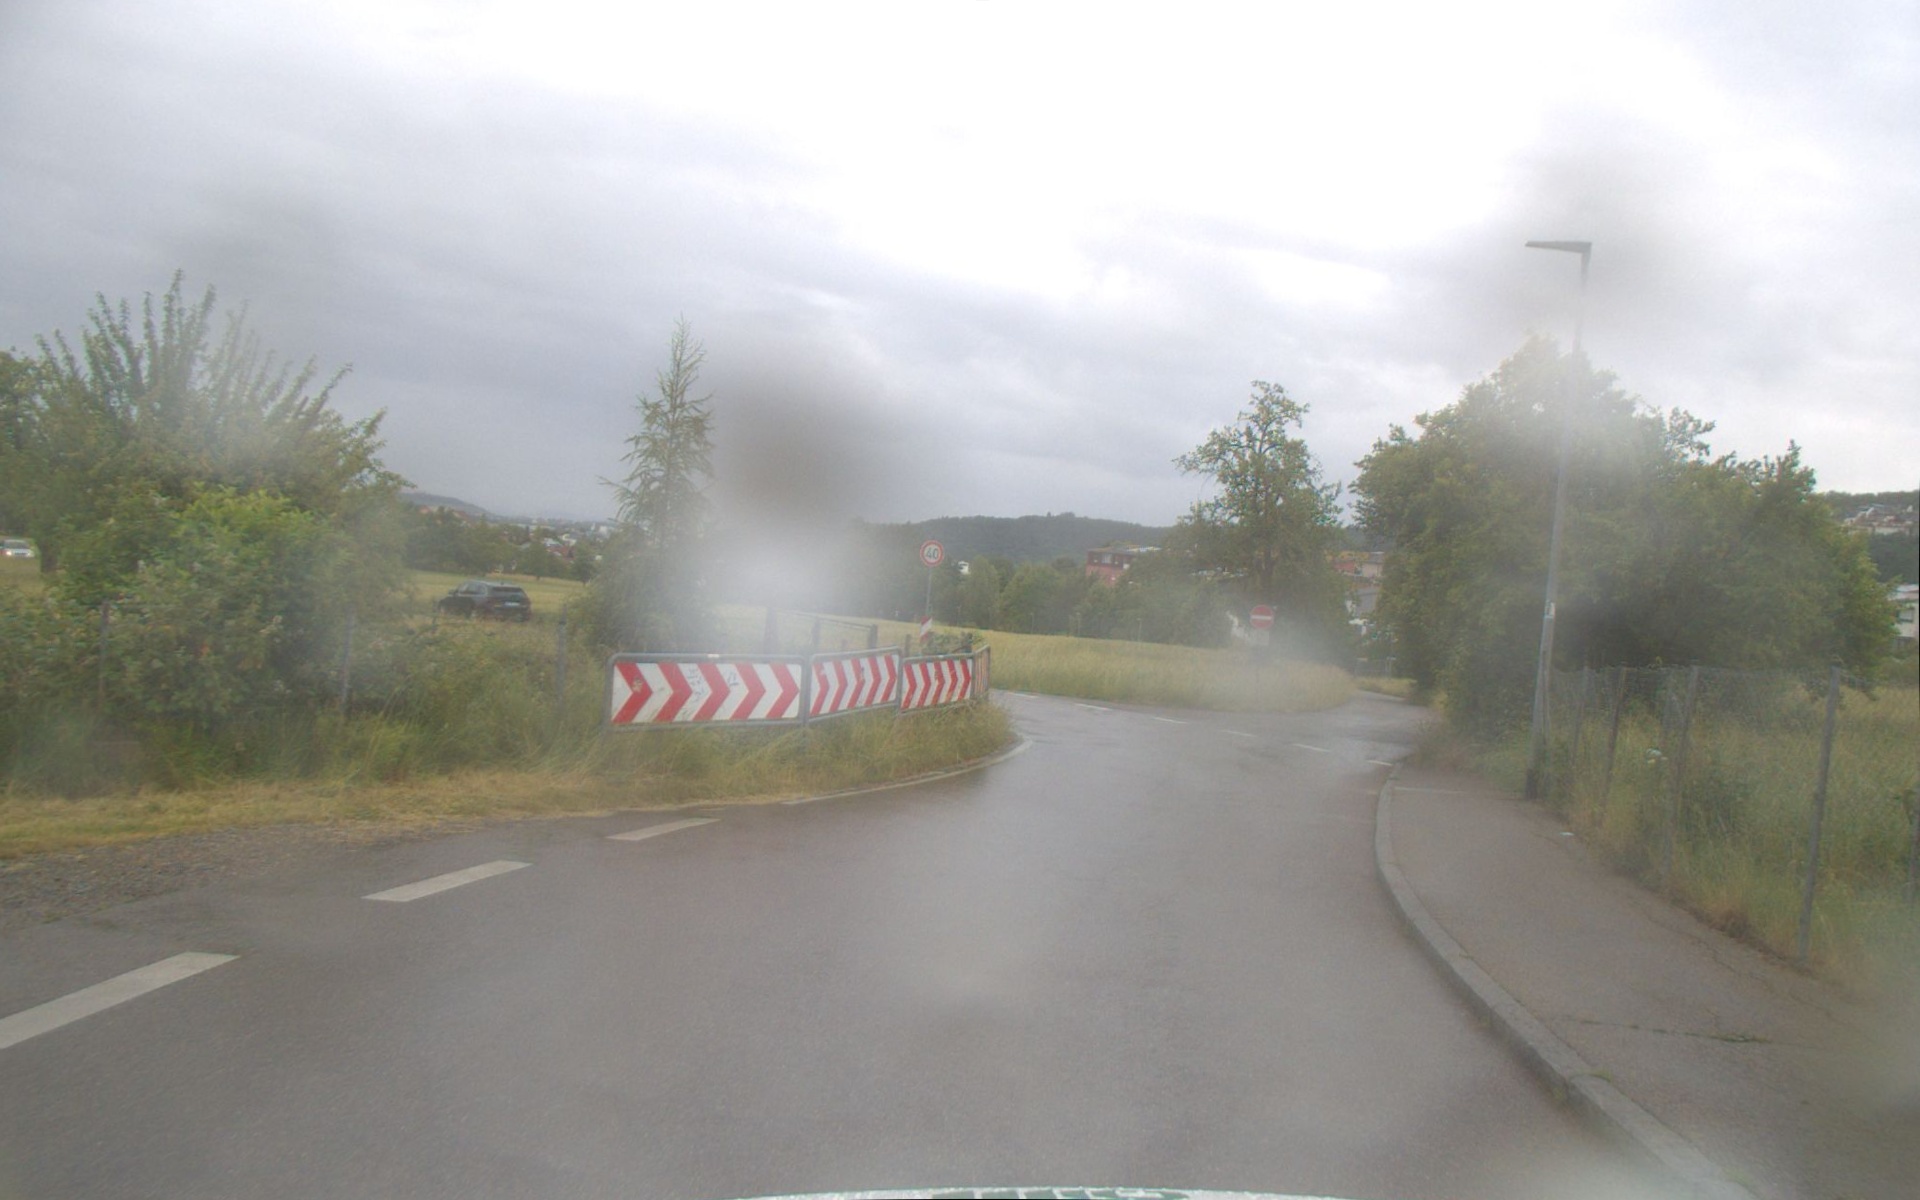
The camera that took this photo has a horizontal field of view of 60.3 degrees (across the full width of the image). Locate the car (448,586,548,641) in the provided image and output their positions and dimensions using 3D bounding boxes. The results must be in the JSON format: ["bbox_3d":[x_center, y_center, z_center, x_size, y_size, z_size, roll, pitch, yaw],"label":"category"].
[{"bbox_3d":[-15.316,0.430,54.697,1.801,1.622,3.947,4,-1,-37],"label":"car"}]
